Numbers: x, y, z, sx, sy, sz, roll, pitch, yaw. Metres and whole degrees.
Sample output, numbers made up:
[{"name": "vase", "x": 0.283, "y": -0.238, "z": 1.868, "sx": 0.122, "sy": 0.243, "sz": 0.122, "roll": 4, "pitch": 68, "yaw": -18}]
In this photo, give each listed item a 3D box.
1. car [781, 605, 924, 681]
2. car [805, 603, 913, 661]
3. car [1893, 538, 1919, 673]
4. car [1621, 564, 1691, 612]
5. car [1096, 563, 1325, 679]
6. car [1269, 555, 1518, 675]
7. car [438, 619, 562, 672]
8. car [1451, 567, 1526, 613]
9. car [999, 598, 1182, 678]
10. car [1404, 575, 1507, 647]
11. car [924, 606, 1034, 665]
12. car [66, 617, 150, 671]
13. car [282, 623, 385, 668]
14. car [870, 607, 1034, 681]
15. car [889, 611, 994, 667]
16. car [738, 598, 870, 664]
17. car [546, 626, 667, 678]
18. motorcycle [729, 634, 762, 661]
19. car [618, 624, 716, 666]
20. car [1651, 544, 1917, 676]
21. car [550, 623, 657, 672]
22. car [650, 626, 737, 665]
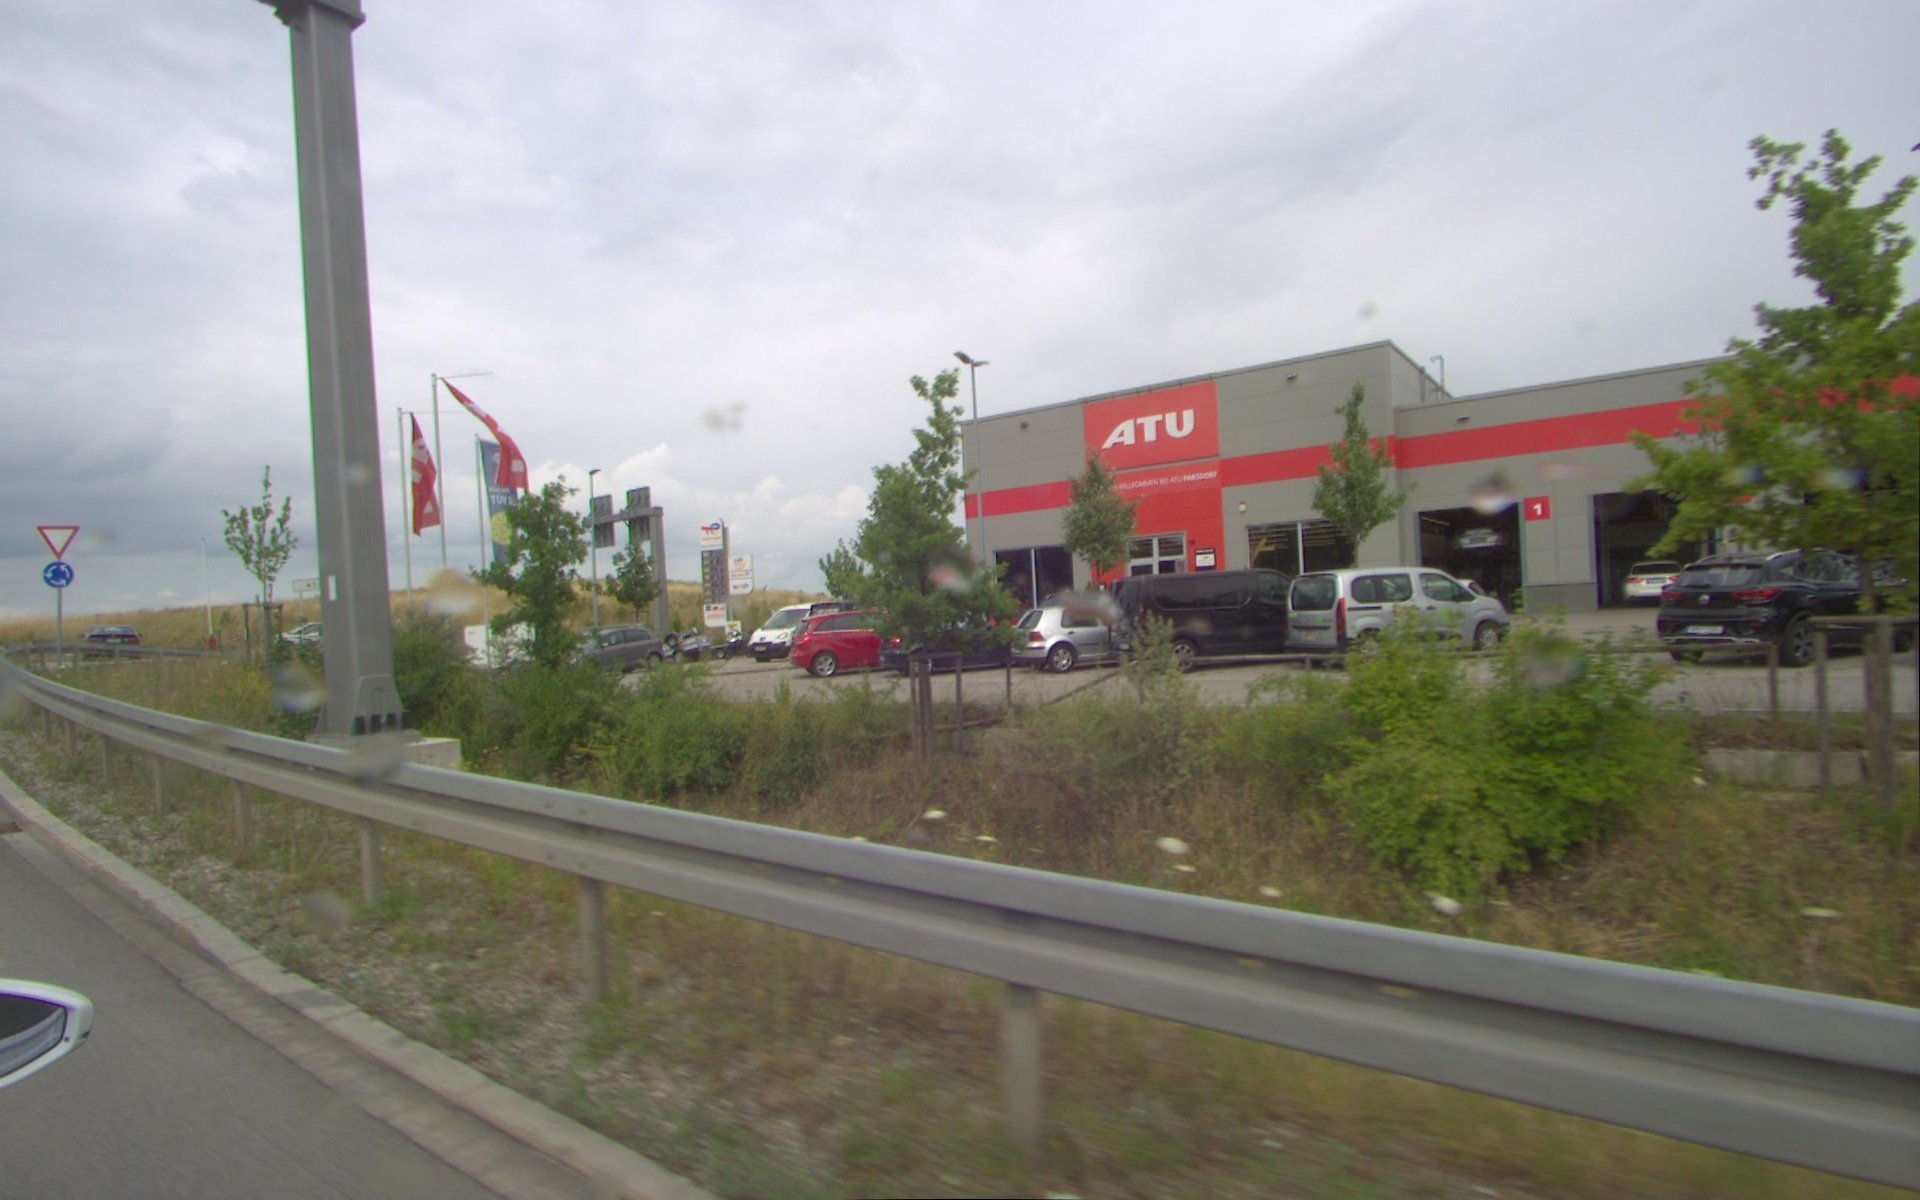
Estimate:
[{"name": "car", "x": -2.818, "y": 1.065, "z": 26.012, "sx": 3.399, "sy": 1.646, "sz": 1.548, "roll": -4, "pitch": 1, "yaw": -16}, {"name": "car", "x": -3.234, "y": 1.009, "z": 32.696, "sx": 1.573, "sy": 1.758, "sz": 3.590, "roll": -3, "pitch": -1, "yaw": 32}, {"name": "car", "x": 14.849, "y": -0.079, "z": 13.155, "sx": 4.470, "sy": 1.757, "sz": 1.829, "roll": -4, "pitch": 1, "yaw": -18}, {"name": "car", "x": 22.510, "y": -0.379, "z": 32.349, "sx": 1.666, "sy": 1.460, "sz": 3.573, "roll": 0, "pitch": 0, "yaw": 38}, {"name": "car", "x": 5.105, "y": 0.403, "z": 20.568, "sx": 4.053, "sy": 1.976, "sz": 1.879, "roll": -4, "pitch": 0, "yaw": -14}, {"name": "car", "x": 8.200, "y": 0.243, "z": 18.981, "sx": 4.120, "sy": 1.866, "sz": 1.828, "roll": -4, "pitch": 1, "yaw": -19}, {"name": "car", "x": -16.023, "y": 1.567, "z": 34.973, "sx": 3.513, "sy": 1.647, "sz": 1.646, "roll": -2, "pitch": 0, "yaw": 2}, {"name": "car", "x": 18.818, "y": -0.329, "z": 35.585, "sx": 1.773, "sy": 1.535, "sz": 3.886, "roll": 0, "pitch": 0, "yaw": 37}, {"name": "car", "x": 2.918, "y": 0.814, "z": 22.562, "sx": 3.692, "sy": 1.461, "sz": 1.590, "roll": -4, "pitch": 1, "yaw": -15}, {"name": "car", "x": 11.809, "y": 0.217, "z": 23.746, "sx": 1.575, "sy": 1.408, "sz": 3.940, "roll": -3, "pitch": 1, "yaw": 35}, {"name": "car", "x": 0.617, "y": 1.015, "z": 29.360, "sx": 1.573, "sy": 1.556, "sz": 3.590, "roll": -3, "pitch": -1, "yaw": 32}, {"name": "car", "x": -31.911, "y": 1.643, "z": 37.474, "sx": 3.910, "sy": 1.862, "sz": 1.646, "roll": -3, "pitch": 0, "yaw": 39}, {"name": "car", "x": -31.498, "y": 2.254, "z": 50.390, "sx": 1.775, "sy": 2.040, "sz": 4.015, "roll": -2, "pitch": 0, "yaw": 42}, {"name": "car", "x": -0.211, "y": 1.024, "z": 24.107, "sx": 3.572, "sy": 1.439, "sz": 1.612, "roll": -4, "pitch": 1, "yaw": -16}, {"name": "car", "x": -0.524, "y": 1.192, "z": 31.693, "sx": 1.573, "sy": 1.597, "sz": 3.590, "roll": -3, "pitch": -1, "yaw": 32}, {"name": "car", "x": -5.300, "y": 1.062, "z": 34.695, "sx": 1.883, "sy": 2.079, "sz": 4.794, "roll": -3, "pitch": -2, "yaw": 30}, {"name": "car", "x": -11.991, "y": 1.754, "z": 34.147, "sx": 1.484, "sy": 1.501, "sz": 3.651, "roll": -4, "pitch": -1, "yaw": 35}, {"name": "motorcycle", "x": -8.999, "y": 1.990, "z": 42.063, "sx": 0.422, "sy": 1.089, "sz": 2.348, "roll": -5, "pitch": -4, "yaw": 10}, {"name": "car", "x": -12.401, "y": 1.908, "z": 42.469, "sx": 3.591, "sy": 1.567, "sz": 1.694, "roll": -2, "pitch": 0, "yaw": 13}, {"name": "car", "x": 12.555, "y": 0.112, "z": 15.248, "sx": 3.647, "sy": 1.651, "sz": 1.644, "roll": -4, "pitch": 1, "yaw": -24}, {"name": "car", "x": -13.776, "y": 1.824, "z": 38.780, "sx": 3.517, "sy": 1.715, "sz": 1.644, "roll": -2, "pitch": 0, "yaw": 13}, {"name": "car", "x": -12.013, "y": 2.052, "z": 45.134, "sx": 3.374, "sy": 1.567, "sz": 1.644, "roll": -2, "pitch": 0, "yaw": 13}]
